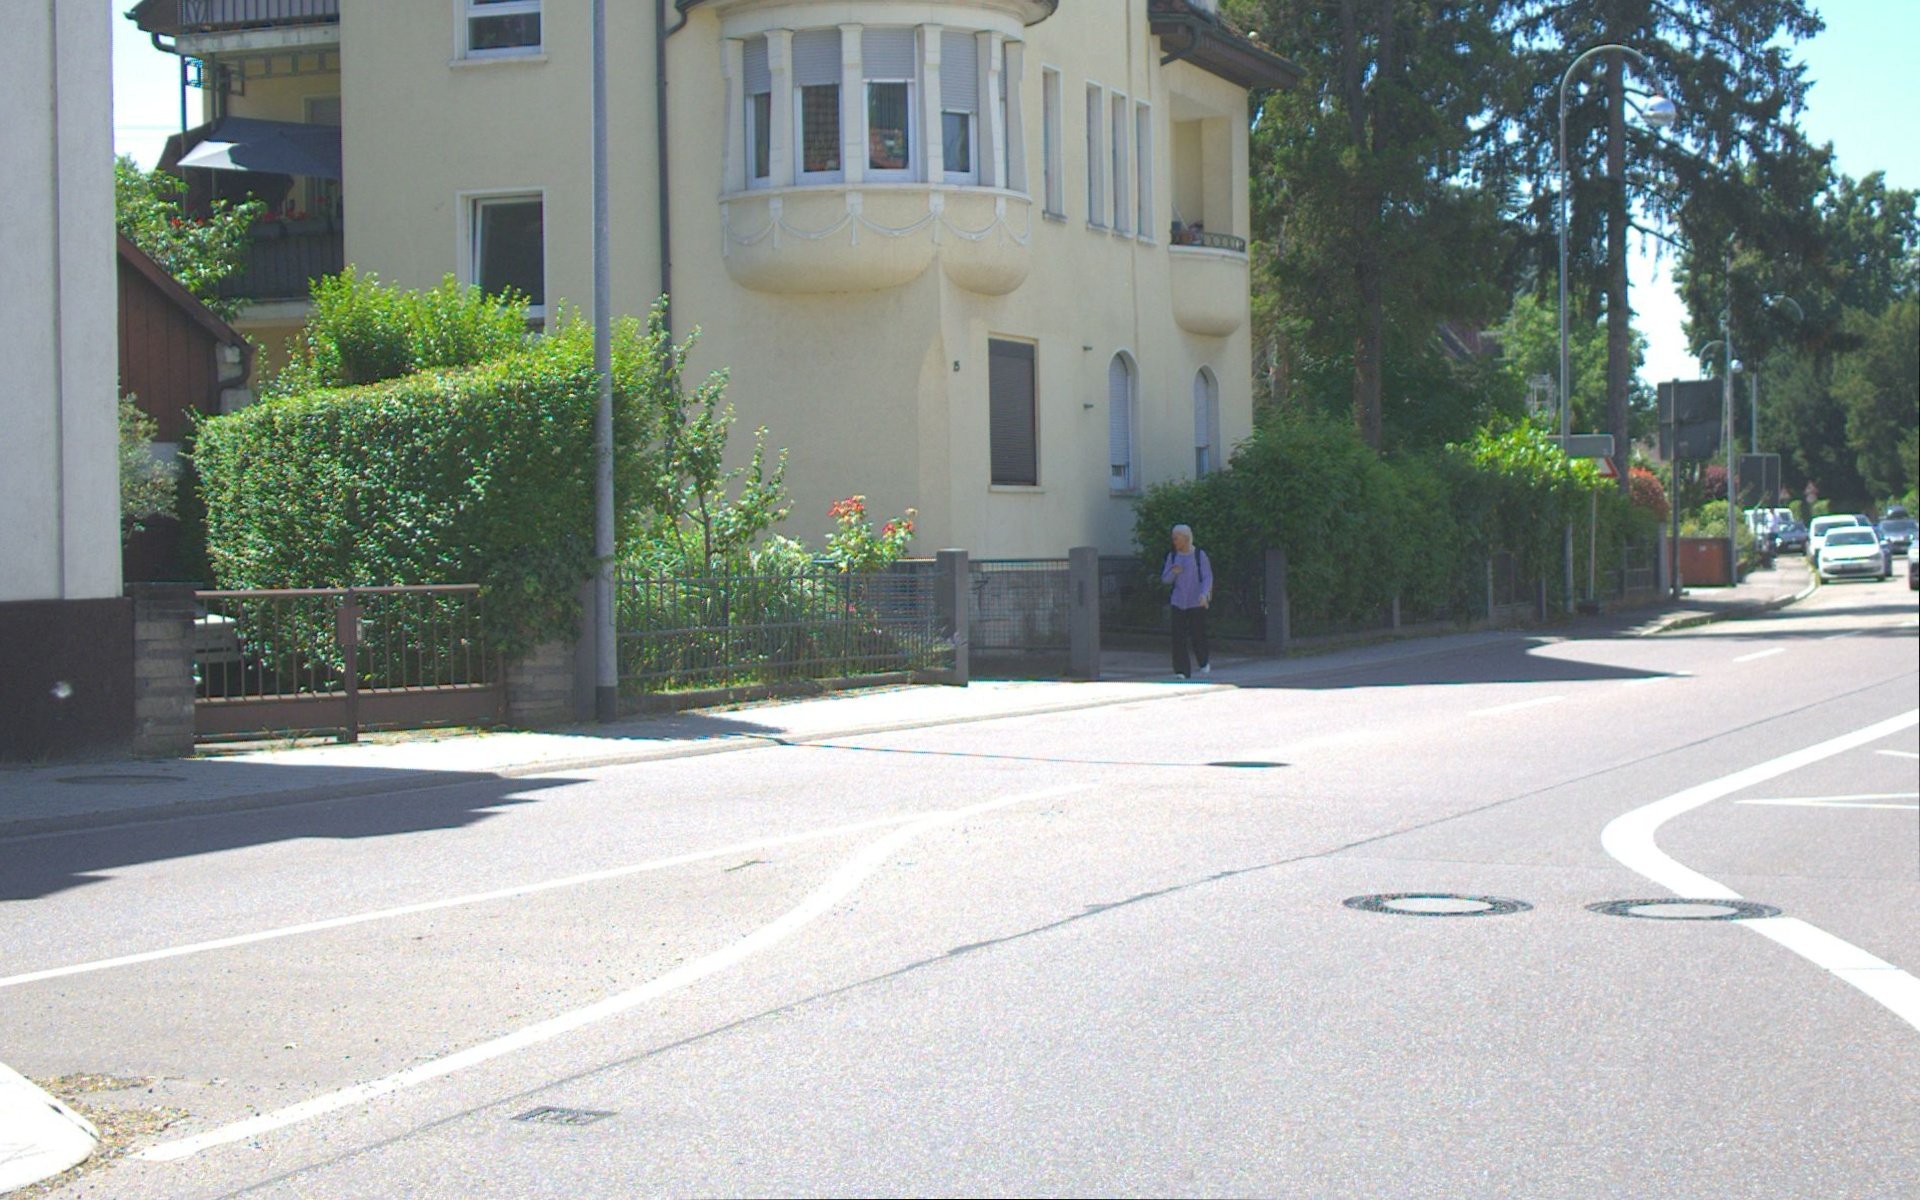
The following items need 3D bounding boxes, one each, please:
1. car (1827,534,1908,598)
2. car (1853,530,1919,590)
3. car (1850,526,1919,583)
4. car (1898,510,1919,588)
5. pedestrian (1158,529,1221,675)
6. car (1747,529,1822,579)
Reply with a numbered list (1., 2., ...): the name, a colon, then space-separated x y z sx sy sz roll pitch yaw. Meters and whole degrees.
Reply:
1. car: 23.908 -0.905 90.540 1.995 1.645 3.997 0 1 15
2. car: 26.018 -1.122 96.147 1.995 1.645 3.997 0 1 15
3. car: 33.565 -1.635 124.045 1.993 2.007 4.000 0 1 2
4. car: 22.217 -1.155 77.590 1.995 1.711 3.997 0 1 16
5. pedestrian: 2.381 0.019 35.664 0.523 1.504 0.473 0 1 23
6. car: 33.463 -1.874 139.637 1.993 2.007 4.000 0 1 -2
